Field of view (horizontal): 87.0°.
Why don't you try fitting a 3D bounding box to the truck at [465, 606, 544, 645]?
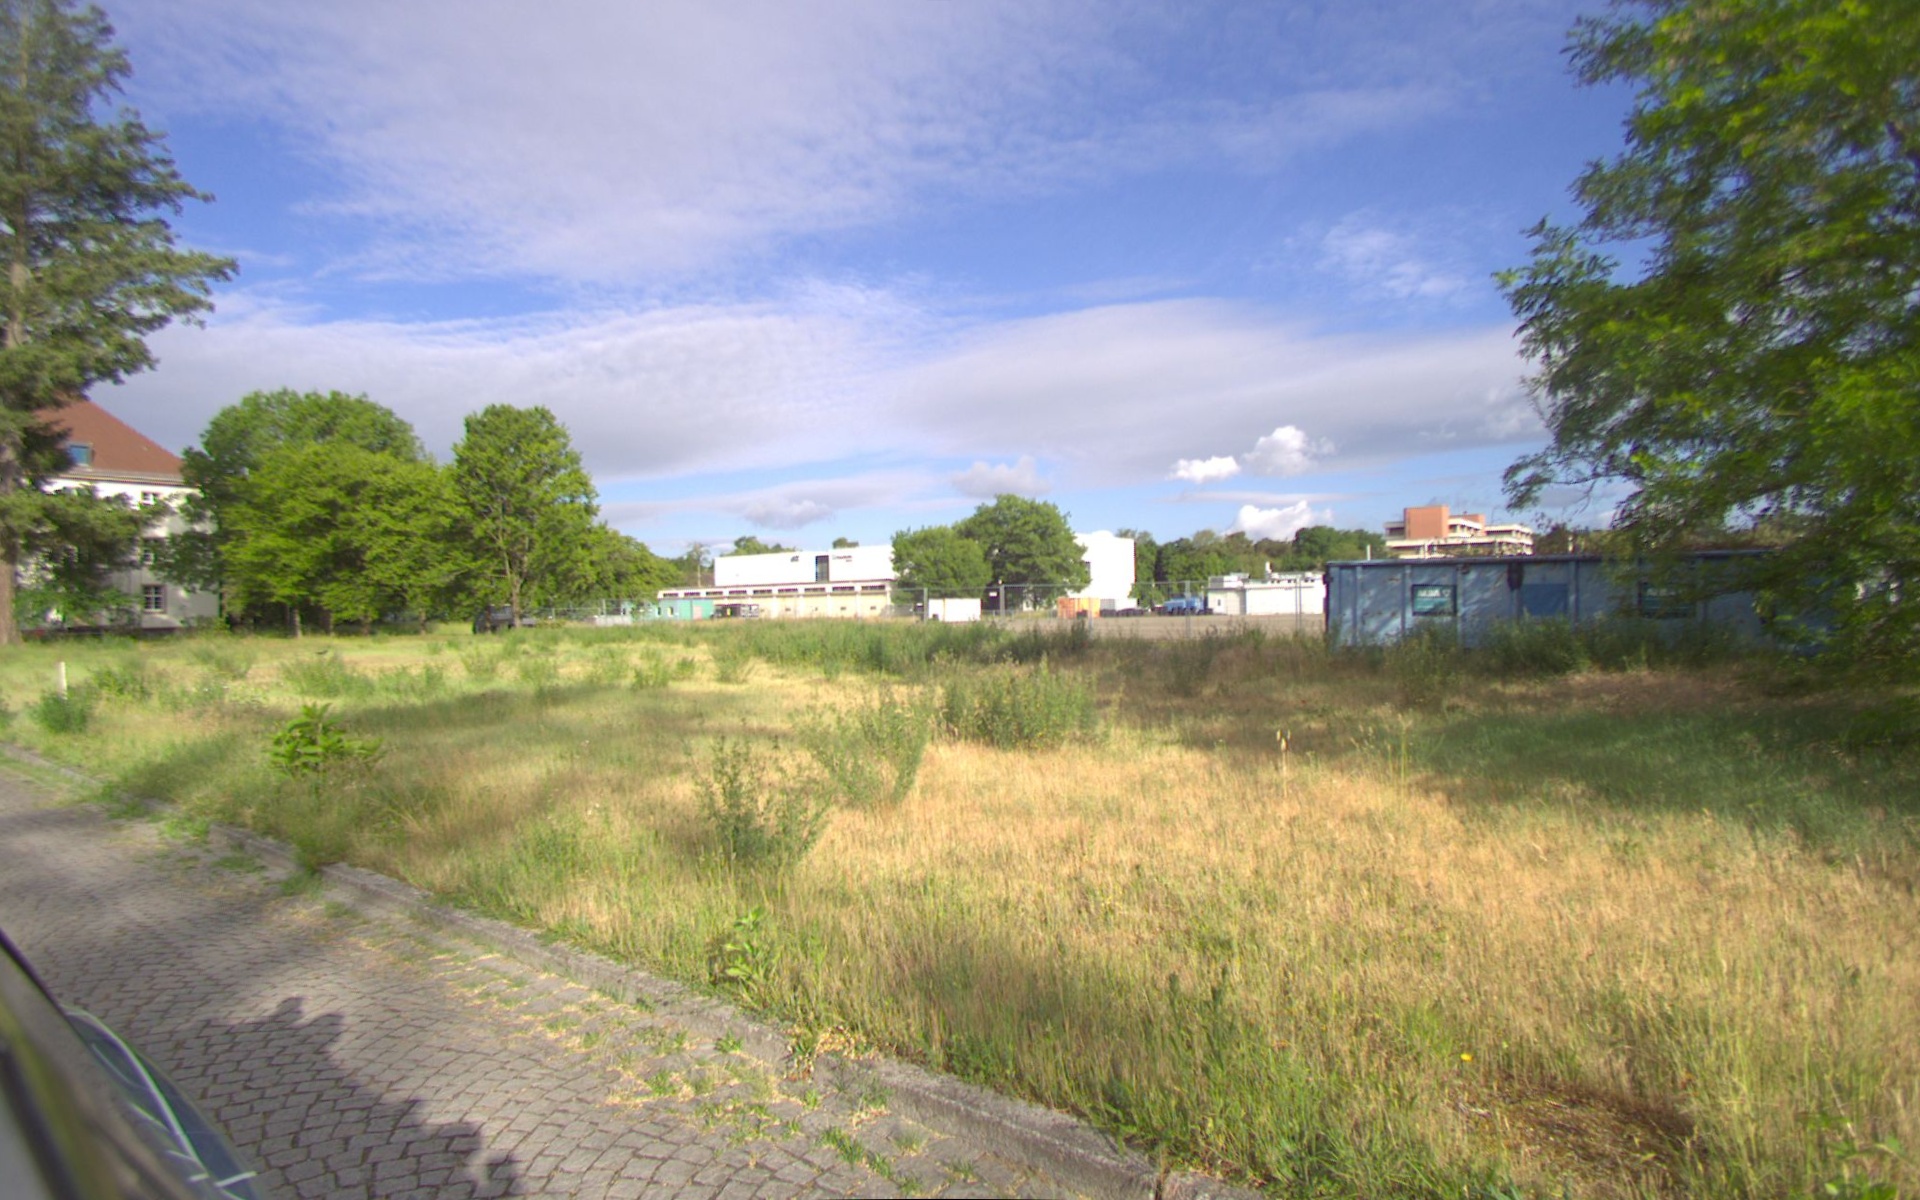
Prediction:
[{"bbox_3d":[-32.132,1.843,71.259,6.954,2.606,2.387,-2,-1,41],"label":"truck"}]
